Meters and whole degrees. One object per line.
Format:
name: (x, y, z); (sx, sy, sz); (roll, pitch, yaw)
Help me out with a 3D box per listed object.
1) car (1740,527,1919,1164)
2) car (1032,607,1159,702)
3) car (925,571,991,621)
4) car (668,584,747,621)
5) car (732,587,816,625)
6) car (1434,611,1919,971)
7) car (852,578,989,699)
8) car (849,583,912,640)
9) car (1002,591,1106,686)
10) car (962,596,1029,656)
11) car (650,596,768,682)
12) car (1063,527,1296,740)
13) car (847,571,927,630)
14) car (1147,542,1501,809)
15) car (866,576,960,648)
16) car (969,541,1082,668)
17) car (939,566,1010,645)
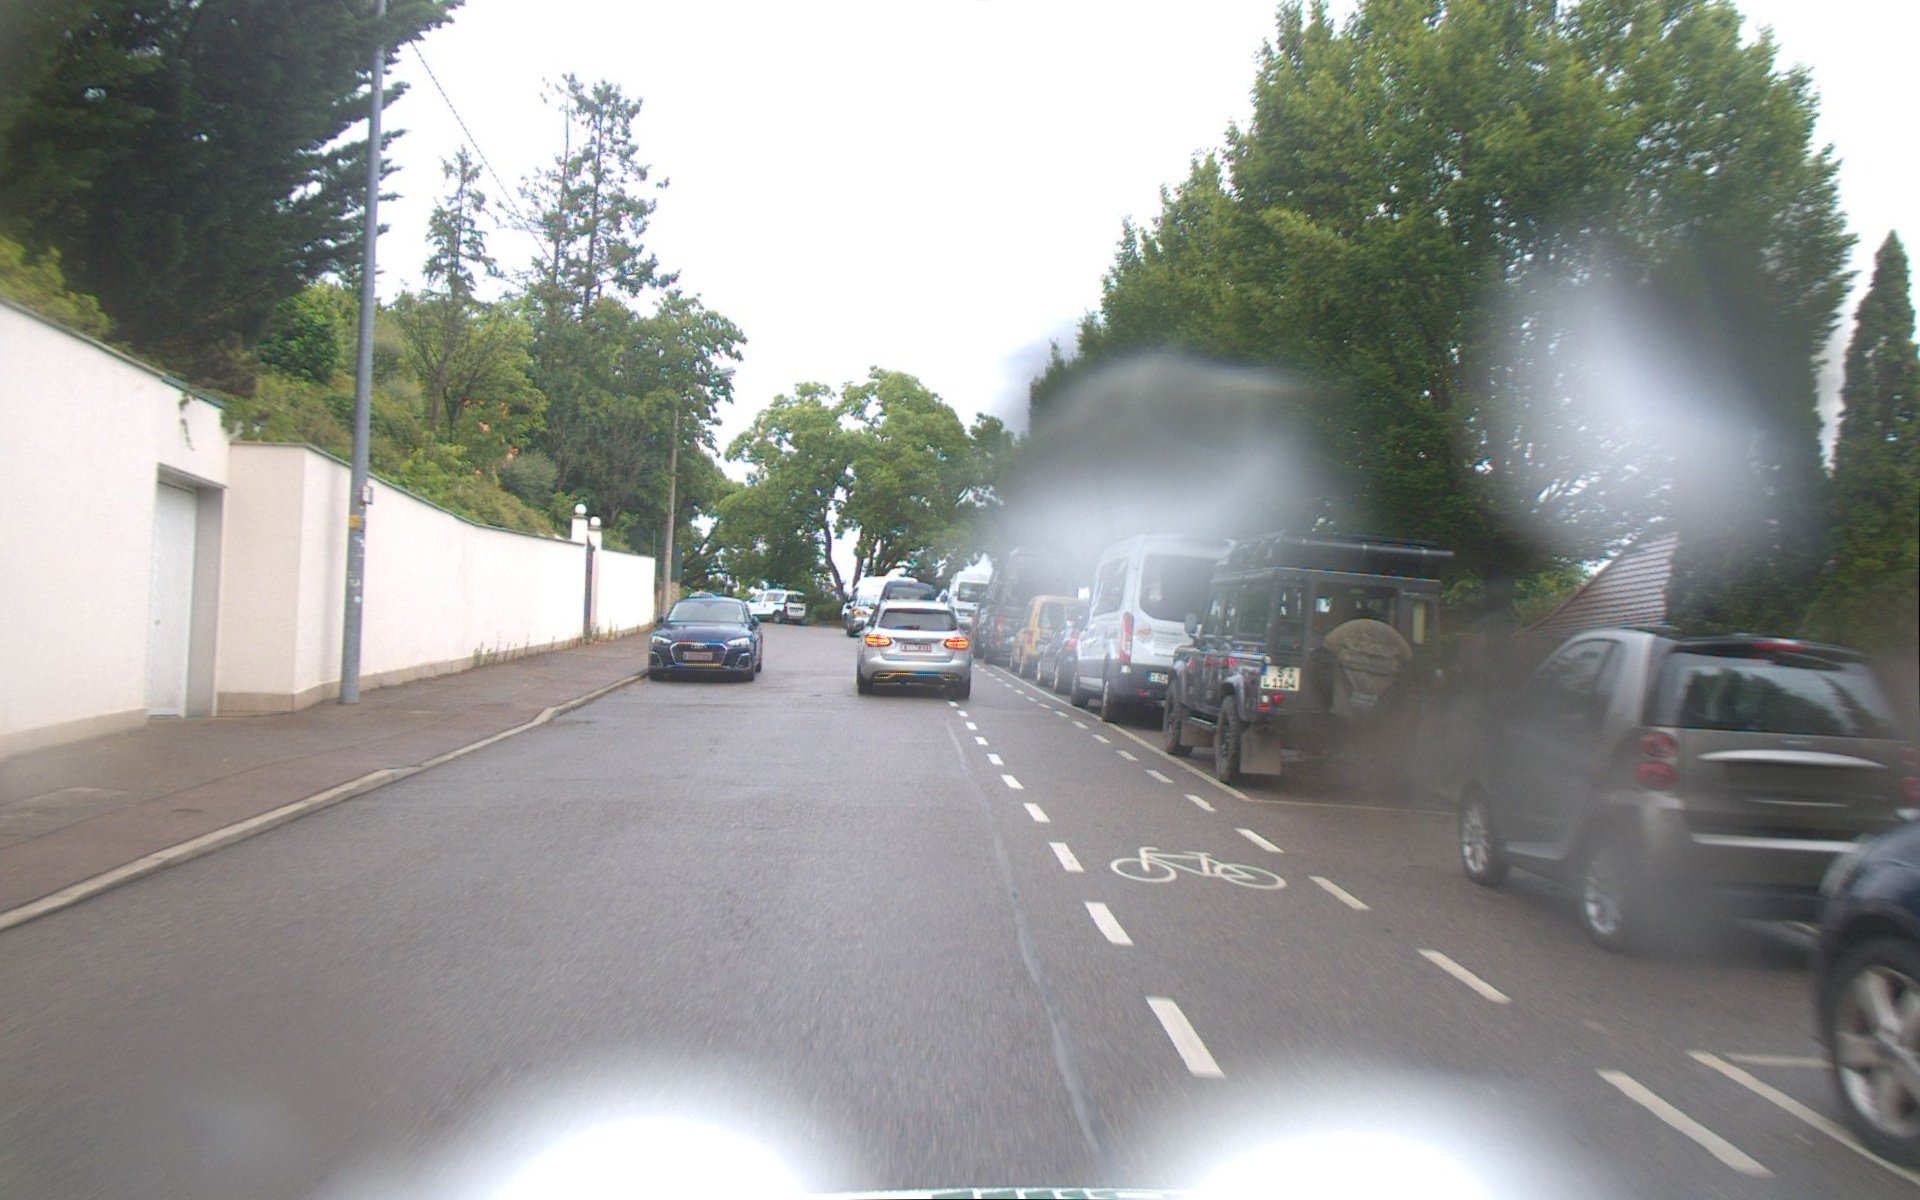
car: (3.721, 0.750, 3.379); (1.745, 1.814, 4.676); (3, 0, -4)
car: (2.487, 0.974, 31.301); (1.639, 1.483, 4.220); (6, 0, -4)
car: (-0.129, -0.206, 72.533); (2.027, 1.993, 4.485); (5, 0, -11)
car: (-14.510, 0.114, 94.938); (4.587, 1.727, 1.959); (5, 0, 41)
car: (-10.299, 0.316, 91.448); (4.411, 1.727, 1.962); (5, 0, 38)
car: (3.908, 0.903, 9.130); (1.564, 1.585, 2.954); (3, 0, -2)
car: (-0.721, 0.561, 26.734); (1.985, 1.738, 4.212); (2, 0, -4)
car: (-2.707, 0.419, 57.018); (1.954, 1.738, 3.998); (4, -1, -2)
car: (2.031, 0.796, 36.931); (1.694, 1.816, 4.273); (6, 0, -3)
car: (1.021, 0.744, 49.334); (1.552, 1.554, 3.583); (5, 0, -4)
car: (-4.419, 0.643, 29.655); (1.714, 1.381, 4.421); (1, 0, -4)
car: (2.990, 0.421, 24.101); (2.131, 2.535, 6.030); (5, 0, -3)
car: (-3.659, 0.008, 81.911); (2.101, 2.570, 4.456); (5, 0, -28)
car: (3.315, 0.637, 16.258); (1.954, 2.087, 5.117); (4, 0, -4)
car: (-1.327, 0.331, 44.629); (1.957, 1.738, 3.992); (4, -1, -9)
car: (1.611, 0.091, 43.114); (2.083, 2.936, 5.764); (5, 0, -4)
car: (0.470, 0.166, 58.949); (2.023, 2.537, 4.756); (5, 0, -3)
